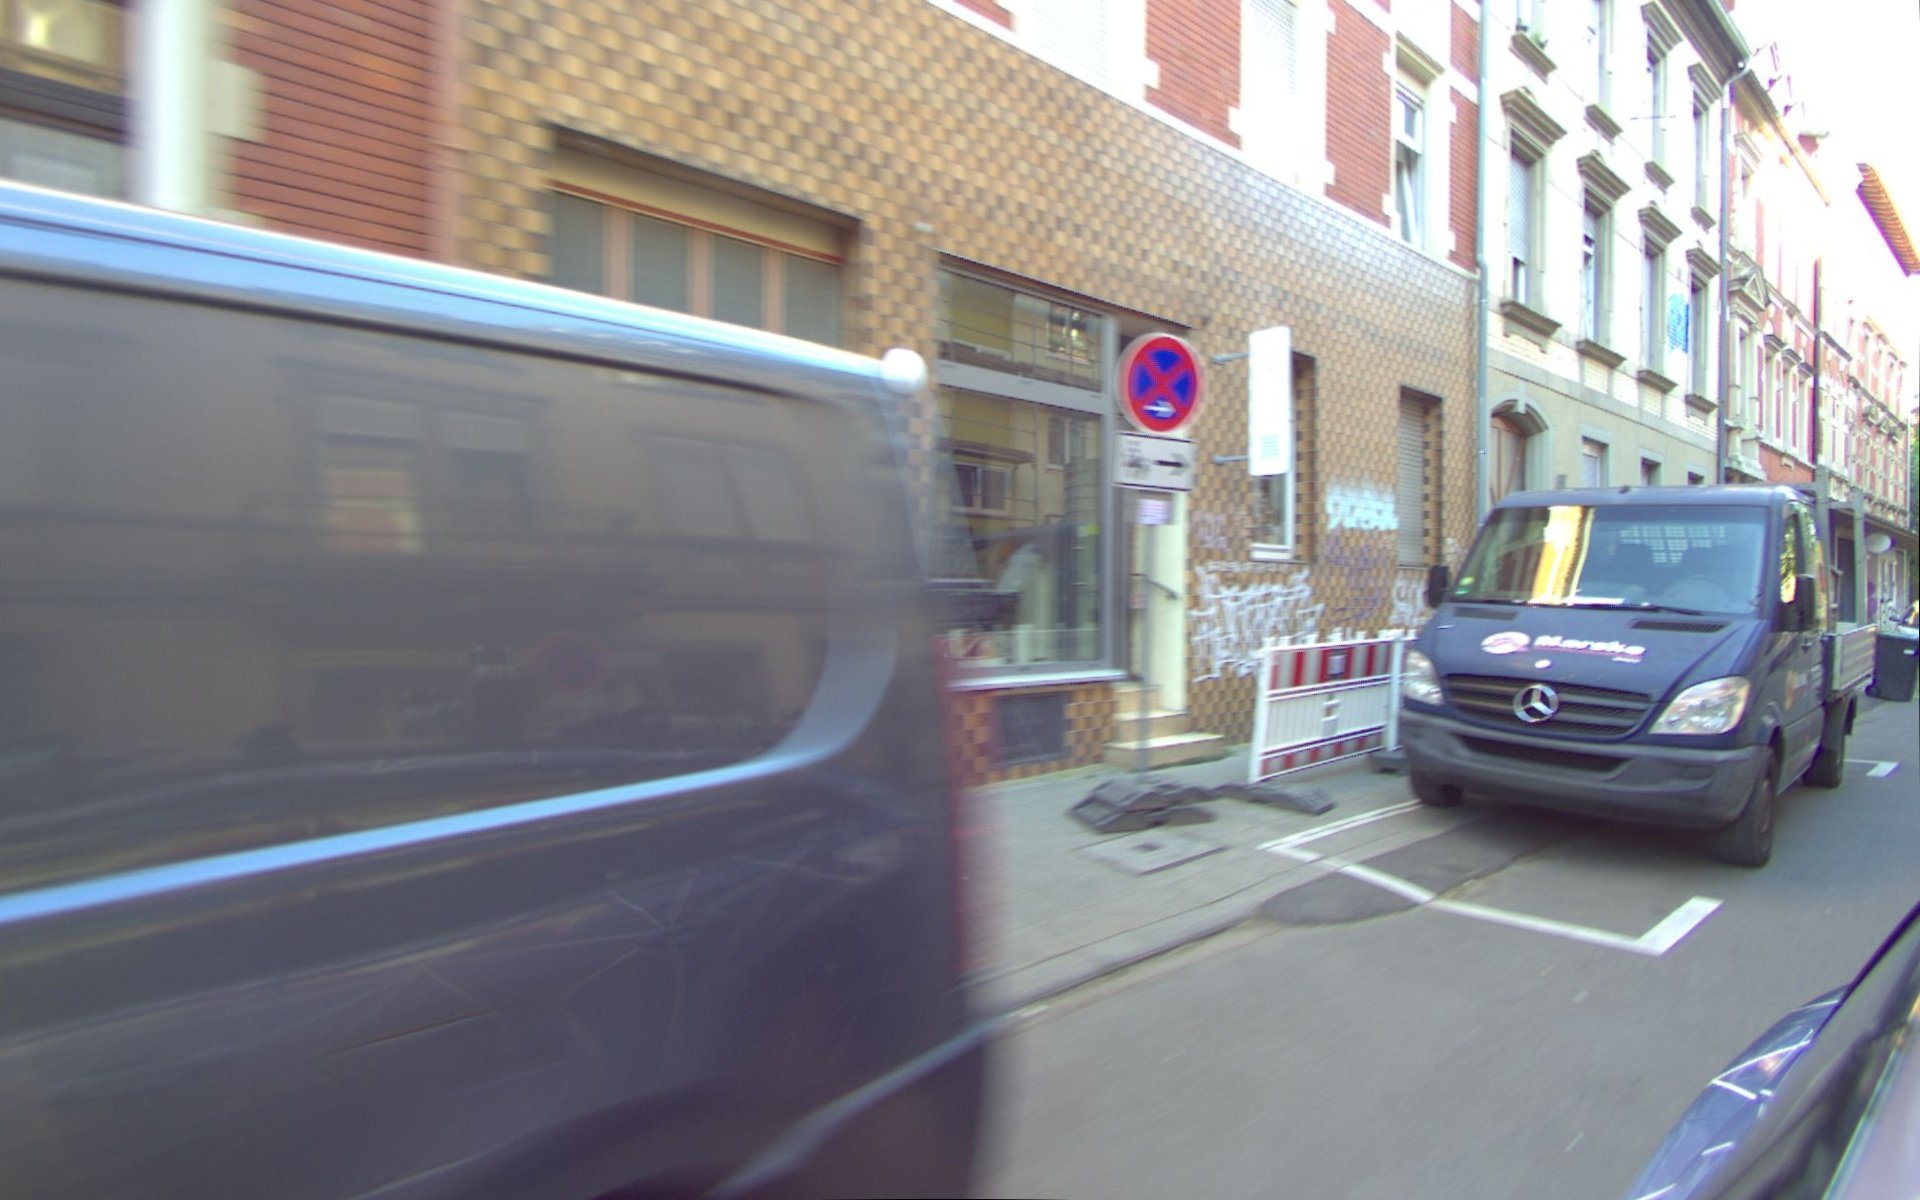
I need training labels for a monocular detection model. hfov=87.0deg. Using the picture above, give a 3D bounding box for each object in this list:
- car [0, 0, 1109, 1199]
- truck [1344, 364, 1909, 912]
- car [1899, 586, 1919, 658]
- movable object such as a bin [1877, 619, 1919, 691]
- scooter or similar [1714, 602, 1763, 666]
[{"bbox_3d":[-2.060,0.528,0.817,4.496,2.009,1.847,0,-2,-41],"label":"car"},{"bbox_3d":[5.523,0.100,7.850,6.149,2.689,2.152,0,5,-44],"label":"truck"},{"bbox_3d":[22.704,0.557,22.976,3.402,1.552,1.526,0,6,-41],"label":"car"},{"bbox_3d":[15.050,0.863,15.979,0.675,1.070,0.742,0,1,-40],"label":"movable object such as a bin"},{"bbox_3d":[14.838,0.627,19.278,1.419,1.157,0.389,0,4,-41],"label":"scooter or similar"}]
